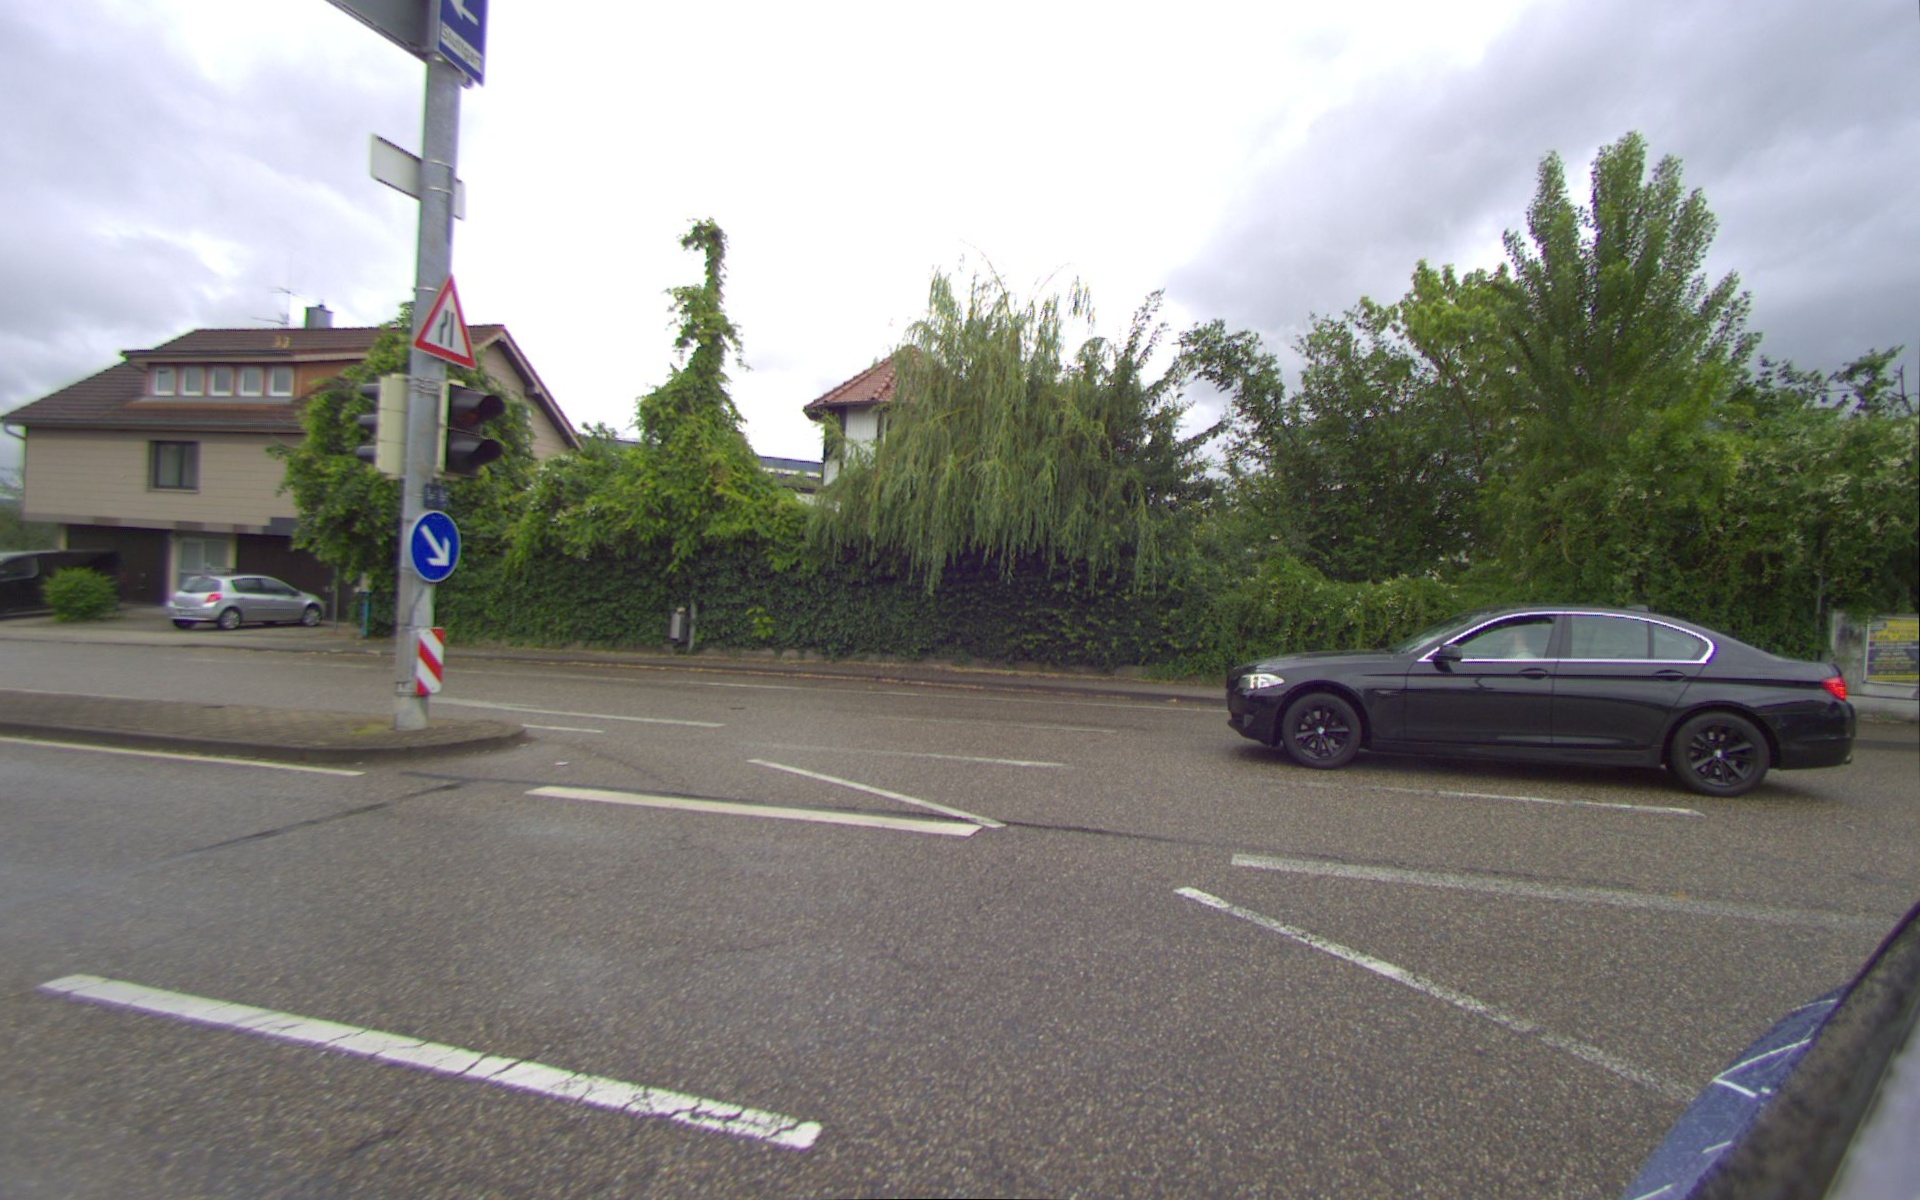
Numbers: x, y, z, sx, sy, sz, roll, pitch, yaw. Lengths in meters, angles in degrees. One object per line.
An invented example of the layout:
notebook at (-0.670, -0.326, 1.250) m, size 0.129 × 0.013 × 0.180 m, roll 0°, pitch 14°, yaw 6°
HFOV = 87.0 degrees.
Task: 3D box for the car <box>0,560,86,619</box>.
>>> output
car at (-27.643, -0.322, 28.992) m, size 1.765 × 1.646 × 3.623 m, roll 1°, pitch 1°, yaw 14°

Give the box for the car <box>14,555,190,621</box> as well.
car at (-24.869, -0.339, 29.497) m, size 1.683 × 1.768 × 3.623 m, roll 1°, pitch 1°, yaw 14°

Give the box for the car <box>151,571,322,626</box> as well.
car at (-19.851, -0.040, 27.958) m, size 1.701 × 1.413 × 3.714 m, roll 0°, pitch 0°, yaw 11°

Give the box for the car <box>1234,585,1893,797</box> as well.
car at (4.857, 0.670, 8.958) m, size 4.655 × 1.478 × 1.786 m, roll 1°, pitch -1°, yaw 17°
